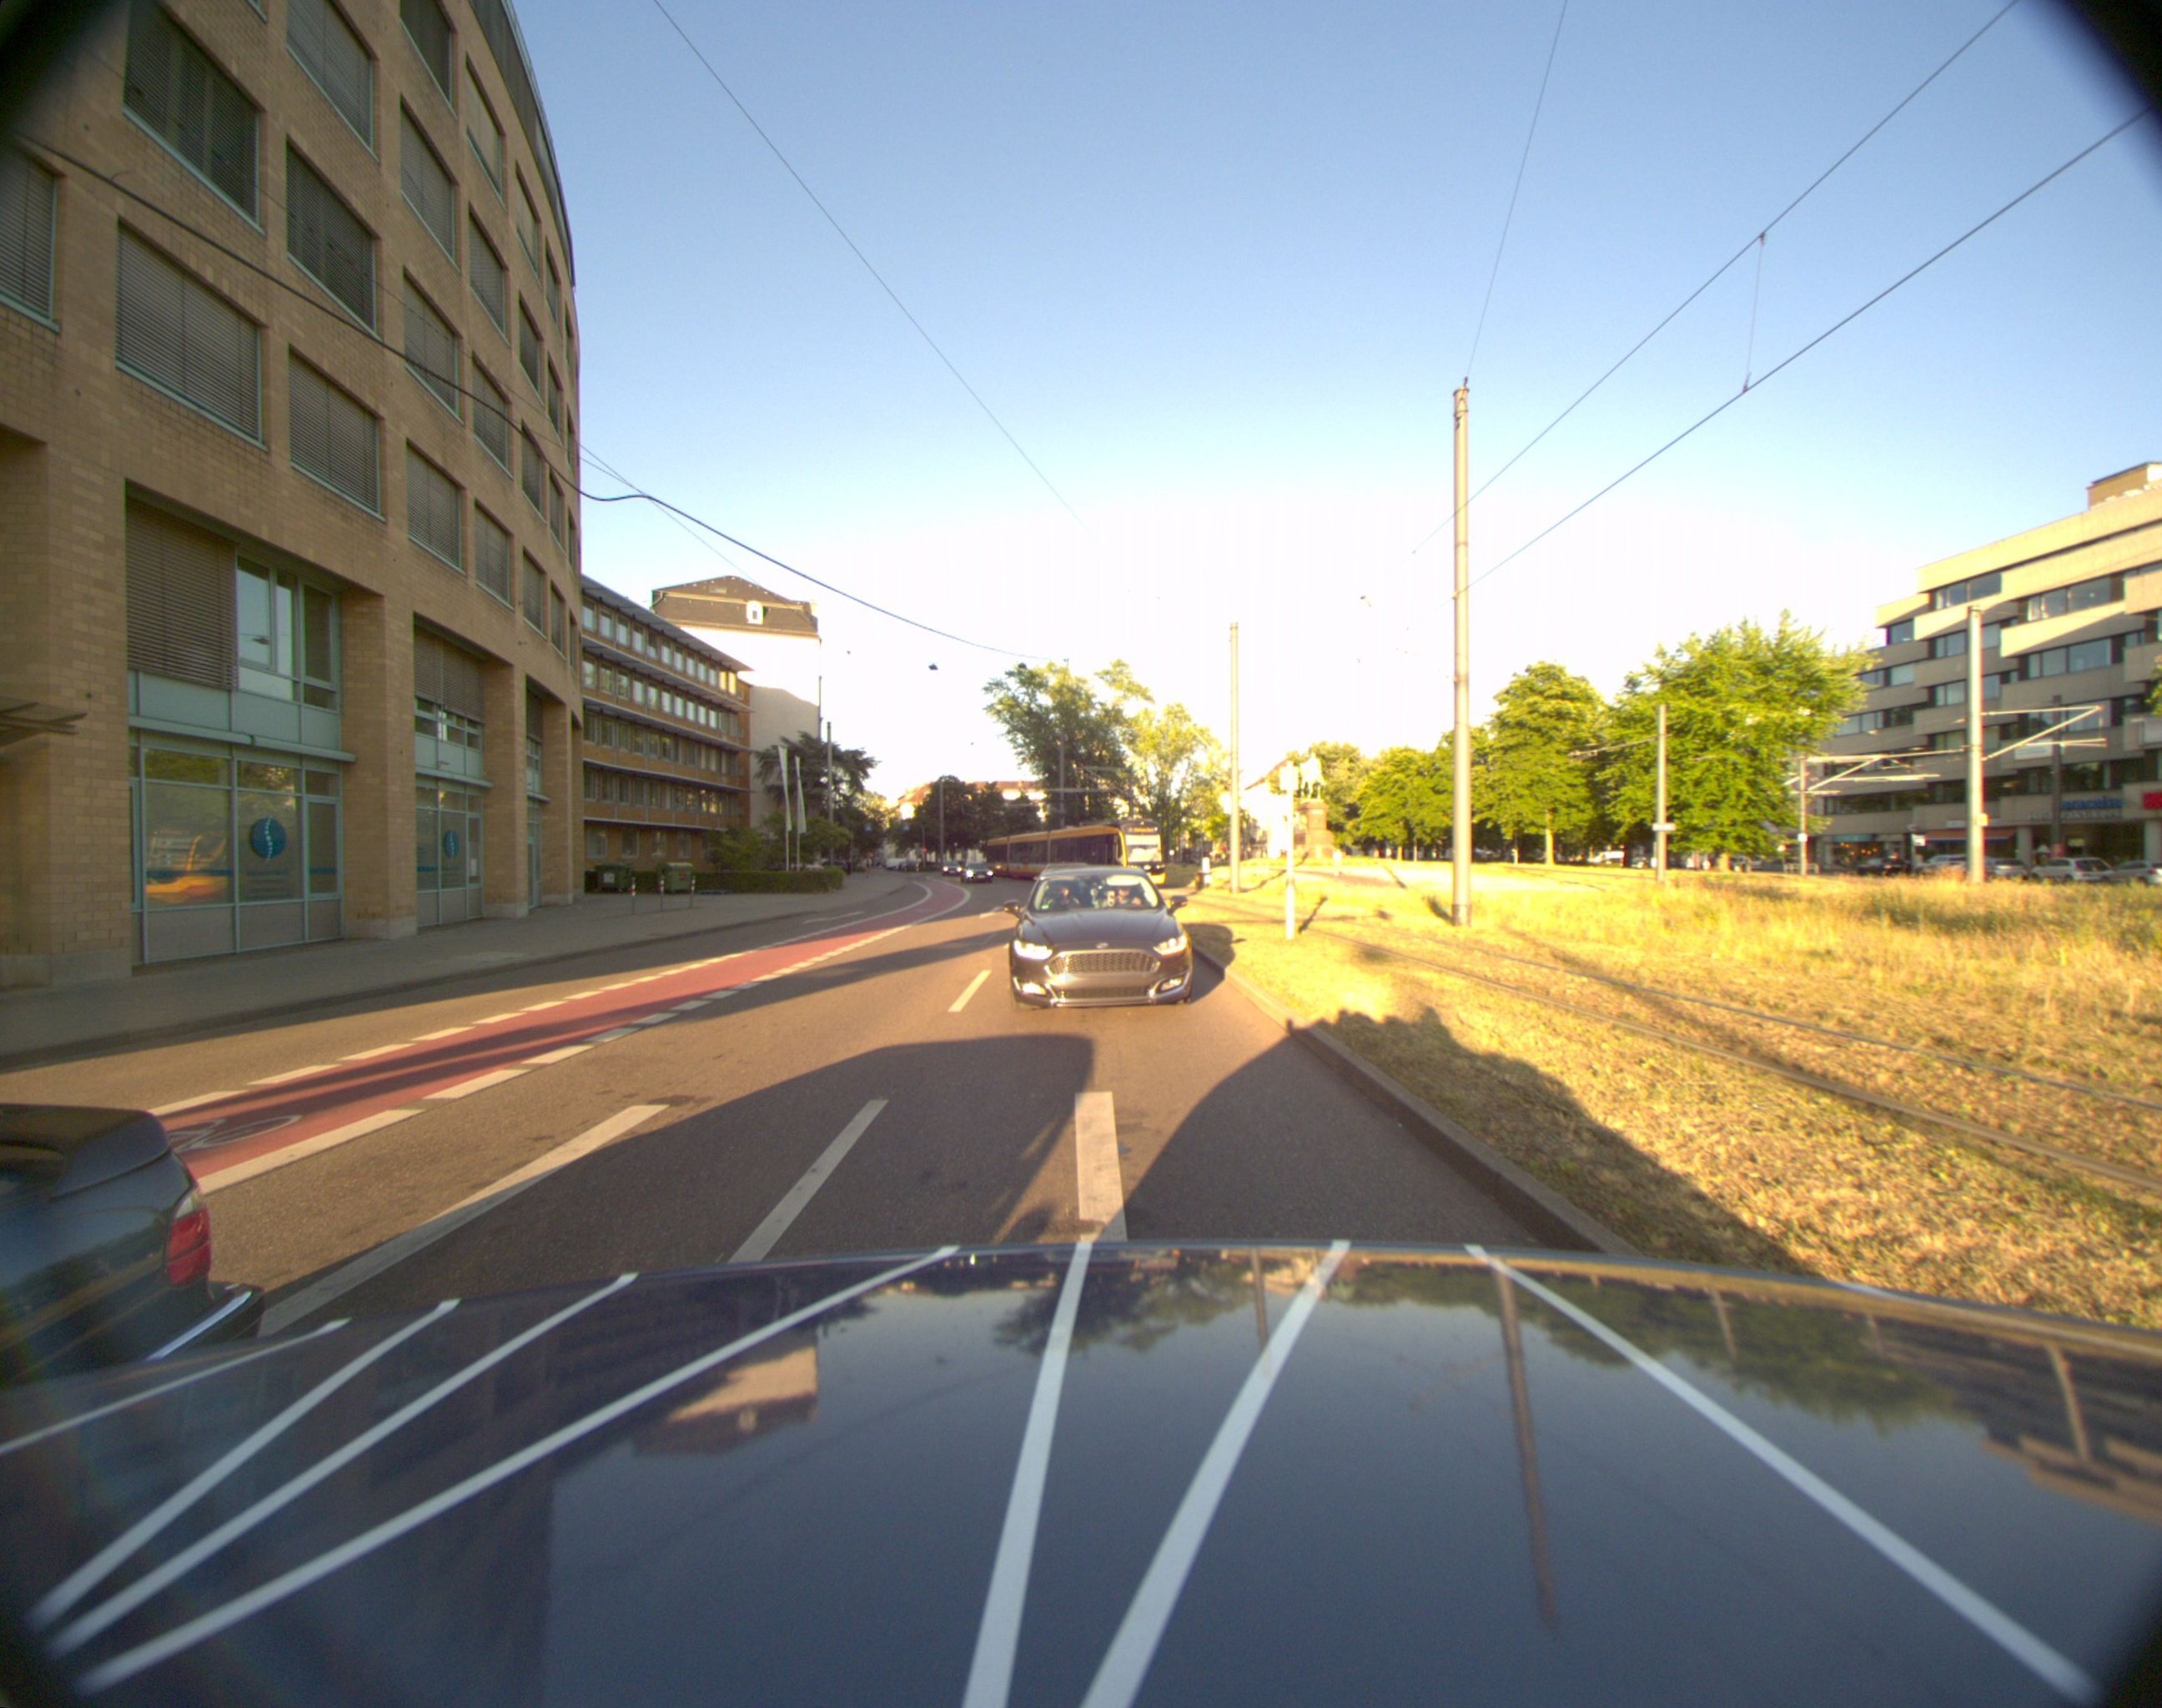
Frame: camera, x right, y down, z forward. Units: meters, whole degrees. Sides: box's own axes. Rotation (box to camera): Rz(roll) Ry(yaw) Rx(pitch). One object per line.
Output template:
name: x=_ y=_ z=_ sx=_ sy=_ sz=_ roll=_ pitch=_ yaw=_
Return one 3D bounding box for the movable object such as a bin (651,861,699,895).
movable object such as a bin: x=-18.276 y=1.056 z=34.235 sx=1.427 sy=1.450 sz=1.332 roll=-1 pitch=0 yaw=-3

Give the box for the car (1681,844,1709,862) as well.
car: x=72.003 y=-0.145 z=89.129 sx=1.995 sy=2.002 sz=4.007 roll=-2 pitch=1 yaw=32

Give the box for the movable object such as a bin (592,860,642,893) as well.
movable object such as a bin: x=-21.190 y=1.028 z=34.743 sx=1.427 sy=1.450 sz=1.332 roll=-1 pitch=0 yaw=-2

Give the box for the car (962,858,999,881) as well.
car: x=-6.989 y=1.046 z=52.509 sx=2.001 sy=1.453 sz=4.137 roll=-1 pitch=0 yaw=-16

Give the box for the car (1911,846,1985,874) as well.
car: x=61.374 y=0.383 z=53.874 sx=1.995 sy=1.925 sz=4.007 roll=-1 pitch=0 yaw=24

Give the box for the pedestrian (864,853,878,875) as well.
pedestrian: x=-18.506 y=0.888 z=66.921 sx=0.913 sy=1.883 sz=1.123 roll=-1 pitch=1 yaw=-33

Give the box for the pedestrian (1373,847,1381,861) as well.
pedestrian: x=35.086 y=0.042 z=90.199 sx=0.711 sy=1.660 sz=0.635 roll=-1 pitch=1 yaw=1

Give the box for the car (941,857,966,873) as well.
car: x=-12.407 y=1.047 z=74.311 sx=1.759 sy=1.379 sz=3.999 roll=-3 pitch=0 yaw=-1

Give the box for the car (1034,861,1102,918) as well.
car: x=-0.320 y=1.019 z=23.573 sx=1.897 sy=1.526 sz=4.705 roll=0 pitch=0 yaw=1

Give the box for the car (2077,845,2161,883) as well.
car: x=54.140 y=0.497 z=38.999 sx=1.921 sy=1.853 sz=4.006 roll=-1 pitch=0 yaw=23

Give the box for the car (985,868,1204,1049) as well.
car: x=0.162 y=0.956 z=8.970 sx=1.890 sy=1.477 sz=4.725 roll=0 pitch=0 yaw=1

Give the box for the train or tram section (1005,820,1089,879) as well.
train or tram section: x=-2.723 y=-0.289 z=54.253 sx=2.889 sy=3.717 sz=12.164 roll=-1 pitch=0 yaw=-18

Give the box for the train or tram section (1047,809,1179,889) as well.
train or tram section: x=1.251 y=-0.251 z=41.945 sx=2.920 sy=3.717 sz=13.197 roll=-1 pitch=0 yaw=-17

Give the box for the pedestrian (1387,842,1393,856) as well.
pedestrian: x=36.400 y=-0.565 z=89.551 sx=0.535 sy=1.684 sz=0.512 roll=-1 pitch=1 yaw=1

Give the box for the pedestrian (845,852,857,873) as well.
pedestrian: x=-19.774 y=0.739 z=65.371 sx=0.728 sy=1.797 sz=0.724 roll=-1 pitch=1 yaw=1

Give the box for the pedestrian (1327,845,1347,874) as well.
pedestrian: x=15.326 y=0.334 z=45.490 sx=0.891 sy=1.718 sz=0.797 roll=-1 pitch=1 yaw=1

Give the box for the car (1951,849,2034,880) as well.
car: x=58.827 y=0.656 z=49.144 sx=1.995 sy=1.868 sz=4.007 roll=0 pitch=0 yaw=27

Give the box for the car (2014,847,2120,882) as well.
car: x=56.263 y=0.561 z=43.474 sx=1.995 sy=1.868 sz=4.006 roll=-1 pitch=0 yaw=22

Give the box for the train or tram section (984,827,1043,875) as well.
train or tram section: x=-6.041 y=-0.237 z=65.644 sx=2.916 sy=3.717 sz=12.175 roll=-1 pitch=0 yaw=-15
